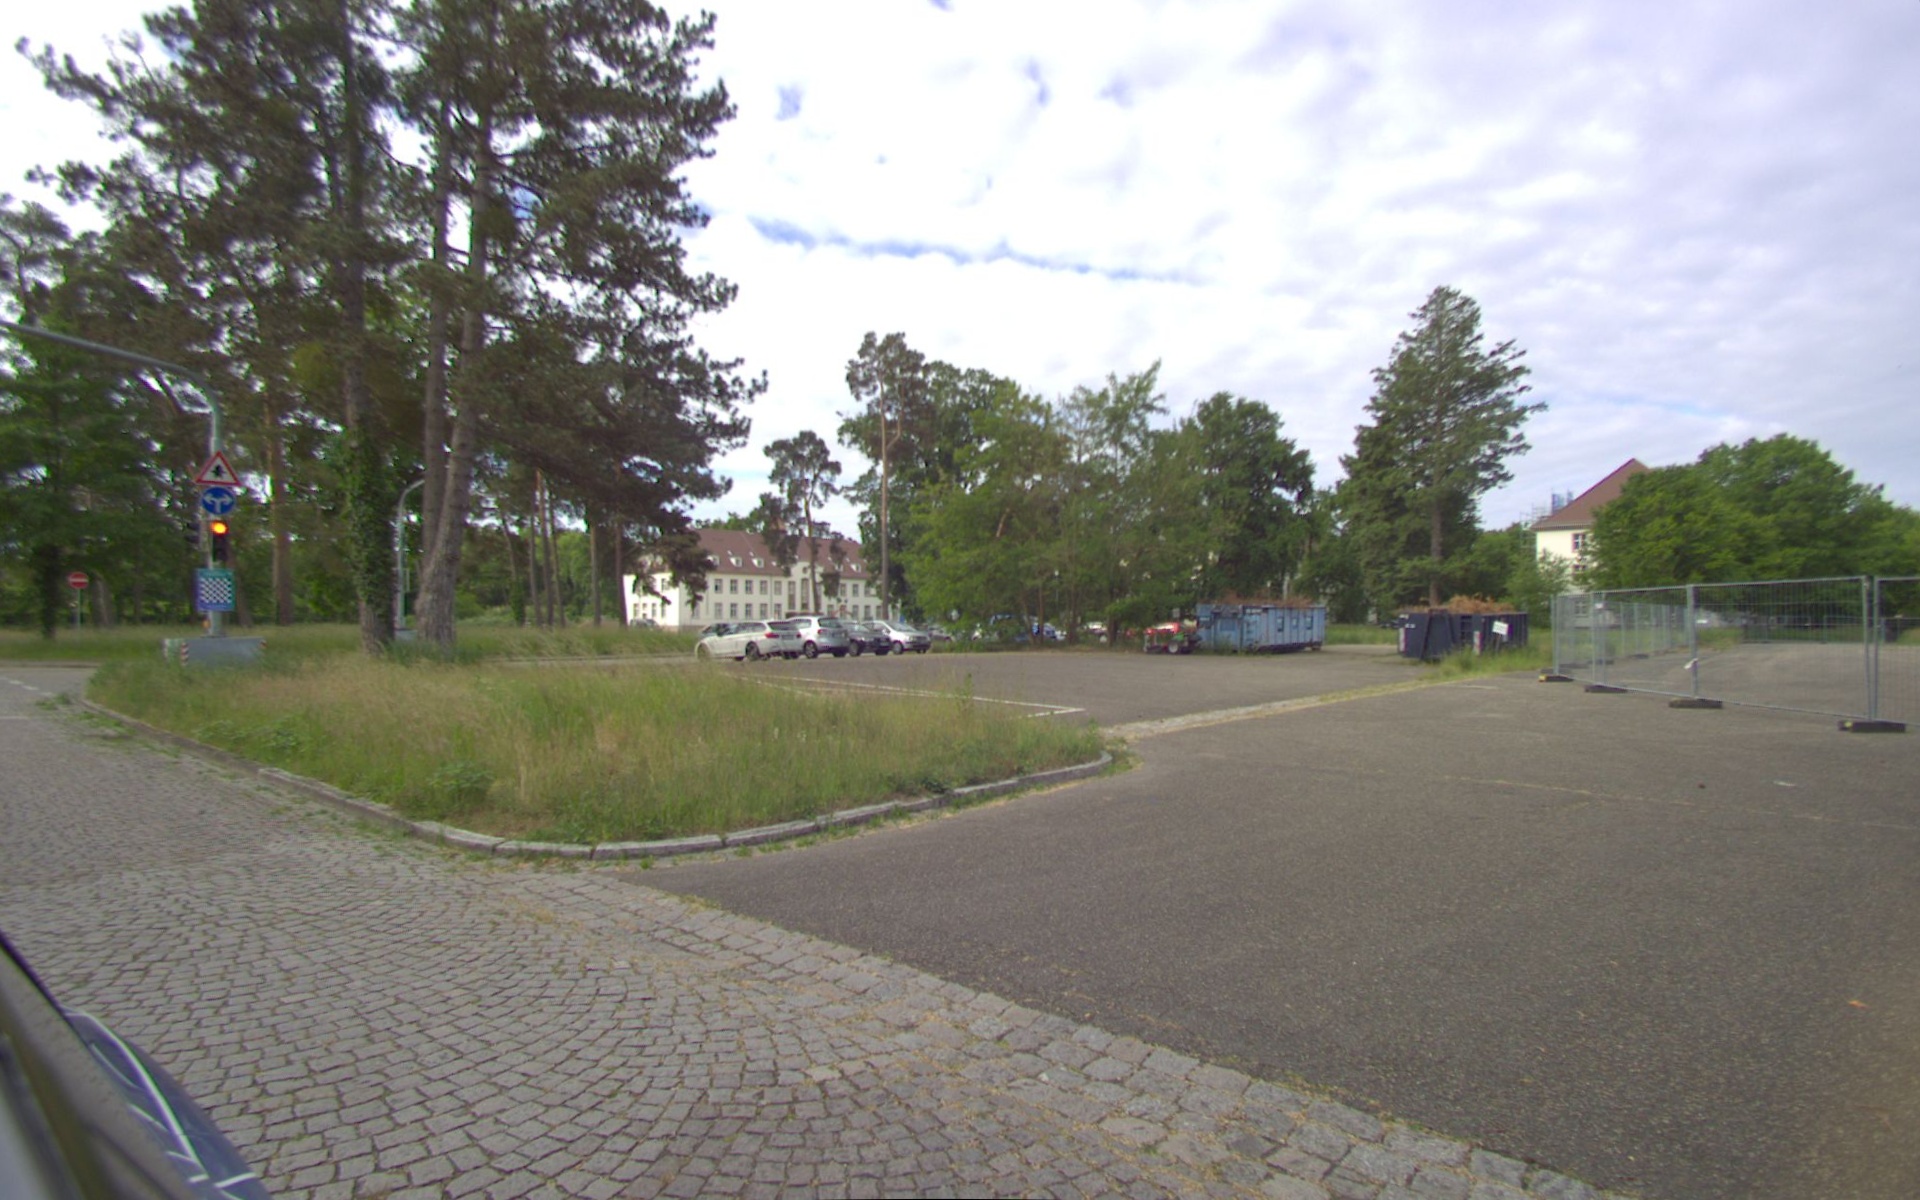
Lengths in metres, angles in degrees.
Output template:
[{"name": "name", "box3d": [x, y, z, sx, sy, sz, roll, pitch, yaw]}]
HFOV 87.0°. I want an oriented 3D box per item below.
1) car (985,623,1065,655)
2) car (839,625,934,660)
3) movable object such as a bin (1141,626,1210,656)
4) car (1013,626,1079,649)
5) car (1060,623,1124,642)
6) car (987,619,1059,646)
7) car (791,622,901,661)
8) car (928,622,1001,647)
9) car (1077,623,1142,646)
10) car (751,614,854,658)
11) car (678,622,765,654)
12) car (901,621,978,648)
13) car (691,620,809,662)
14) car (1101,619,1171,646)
[{"name": "car", "box3d": [3.144, 1.877, 48.975, 3.588, 1.486, 1.658, -1, -2, 39]}, {"name": "car", "box3d": [-3.134, 1.772, 42.790, 4.033, 1.410, 1.616, -1, -2, 39]}, {"name": "movable object such as a bin", "box3d": [7.468, 1.411, 35.025, 1.953, 0.976, 1.431, -1, -2, 34]}, {"name": "car", "box3d": [5.775, 2.490, 68.346, 4.187, 1.486, 1.805, -1, -2, 41]}, {"name": "car", "box3d": [9.546, 2.366, 73.380, 4.400, 1.361, 1.688, -1, -2, 41]}, {"name": "car", "box3d": [4.138, 2.105, 66.443, 4.580, 1.736, 1.805, -1, -2, 41]}, {"name": "car", "box3d": [-4.576, 1.630, 40.385, 4.397, 1.486, 1.807, -1, -2, 39]}, {"name": "car", "box3d": [0.249, 2.133, 62.933, 4.395, 1.486, 1.808, -1, -2, 37]}, {"name": "car", "box3d": [11.179, 2.566, 75.745, 4.580, 1.736, 1.805, -1, -2, 41]}, {"name": "car", "box3d": [-5.977, 1.383, 38.138, 3.894, 1.532, 1.653, -4, -3, 39]}, {"name": "car", "box3d": [-11.623, 1.810, 49.127, 4.397, 1.486, 1.807, -1, -2, 39]}, {"name": "car", "box3d": [-1.250, 2.021, 60.402, 4.395, 1.486, 1.808, -1, 0, 37]}, {"name": "car", "box3d": [-7.557, 1.432, 36.230, 4.315, 1.436, 1.807, -1, -2, 39]}, {"name": "car", "box3d": [9.987, 1.844, 57.471, 3.588, 1.486, 1.658, -1, -2, 39]}]
